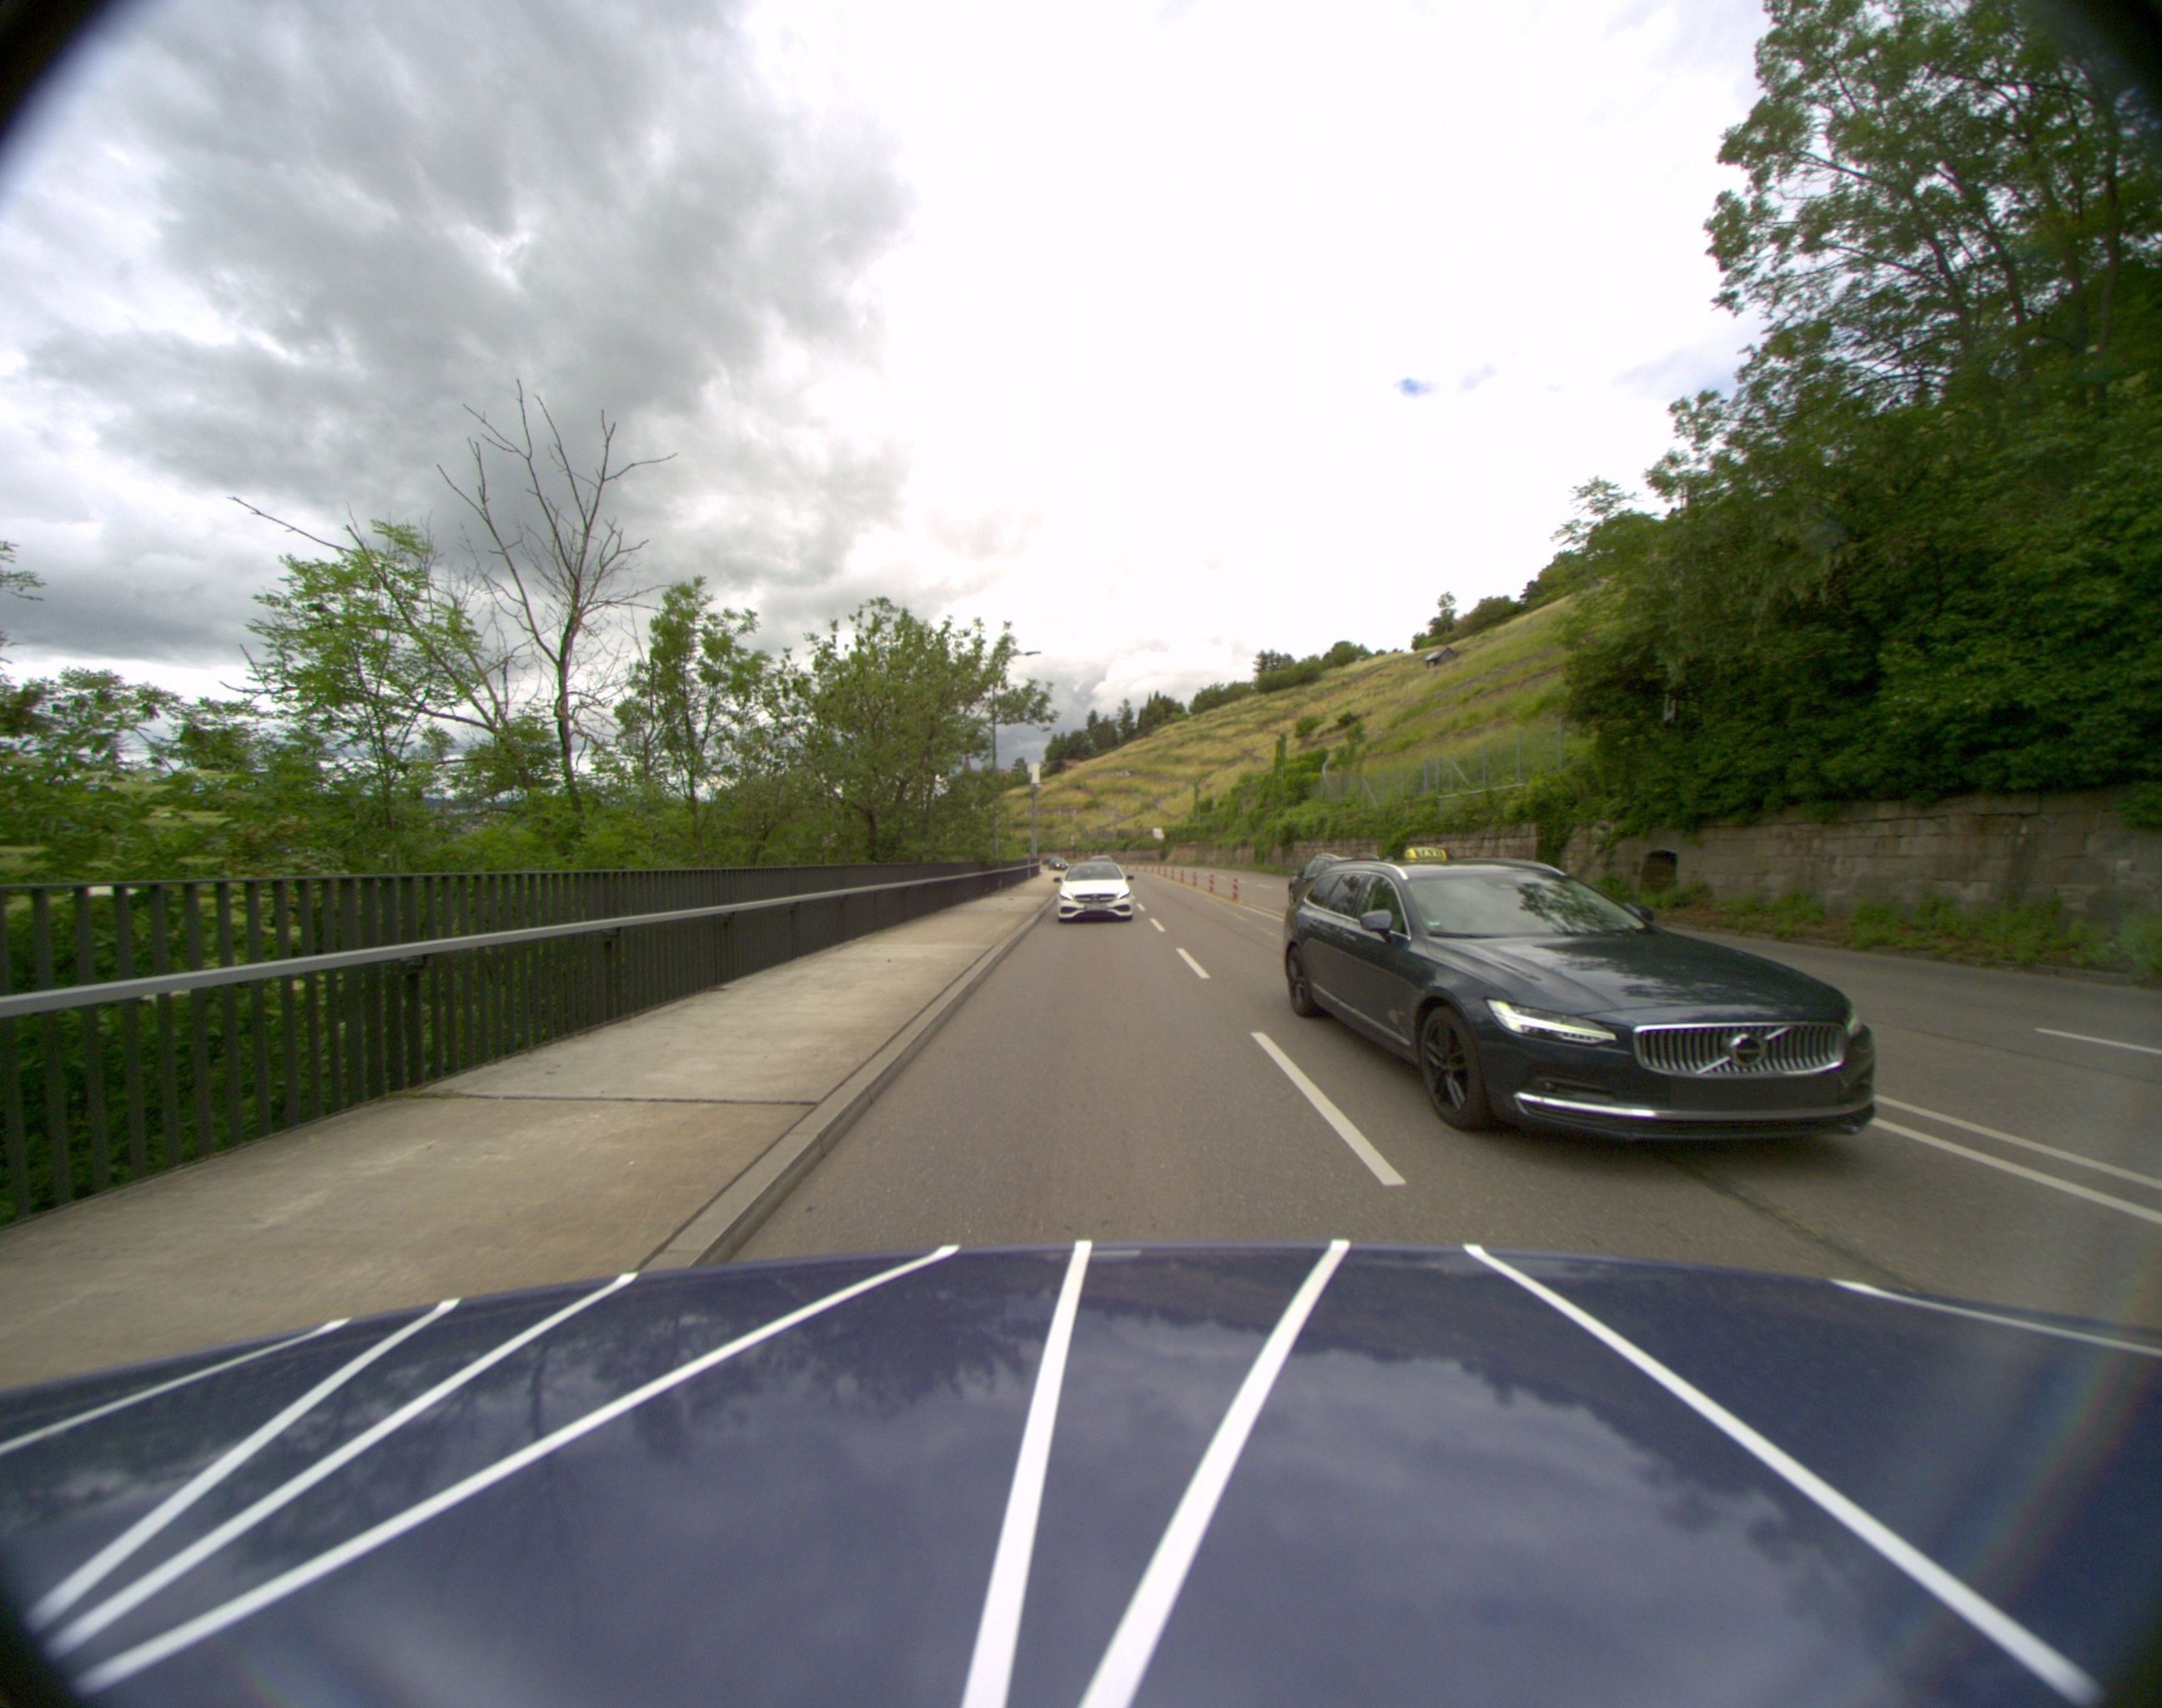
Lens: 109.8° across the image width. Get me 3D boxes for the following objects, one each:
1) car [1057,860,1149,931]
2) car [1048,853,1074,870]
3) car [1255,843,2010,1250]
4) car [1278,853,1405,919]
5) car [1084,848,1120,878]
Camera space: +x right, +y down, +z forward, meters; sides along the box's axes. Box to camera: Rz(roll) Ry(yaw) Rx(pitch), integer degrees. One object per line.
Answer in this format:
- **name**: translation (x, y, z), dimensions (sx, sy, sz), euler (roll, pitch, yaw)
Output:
- **car**: translation (0.526, 0.939, 18.514), dimensions (1.903, 1.418, 4.266), euler (-3, -1, 1)
- **car**: translation (-2.249, 0.831, 85.145), dimensions (2.001, 1.756, 3.995), euler (-2, 0, -16)
- **car**: translation (2.819, 0.783, 5.608), dimensions (1.939, 1.567, 5.027), euler (-3, 0, 1)
- **car**: translation (6.592, 0.736, 19.780), dimensions (1.861, 1.437, 4.295), euler (-2, 0, 1)
- **car**: translation (1.251, 0.504, 45.532), dimensions (1.998, 1.580, 4.000), euler (-3, 0, 2)
